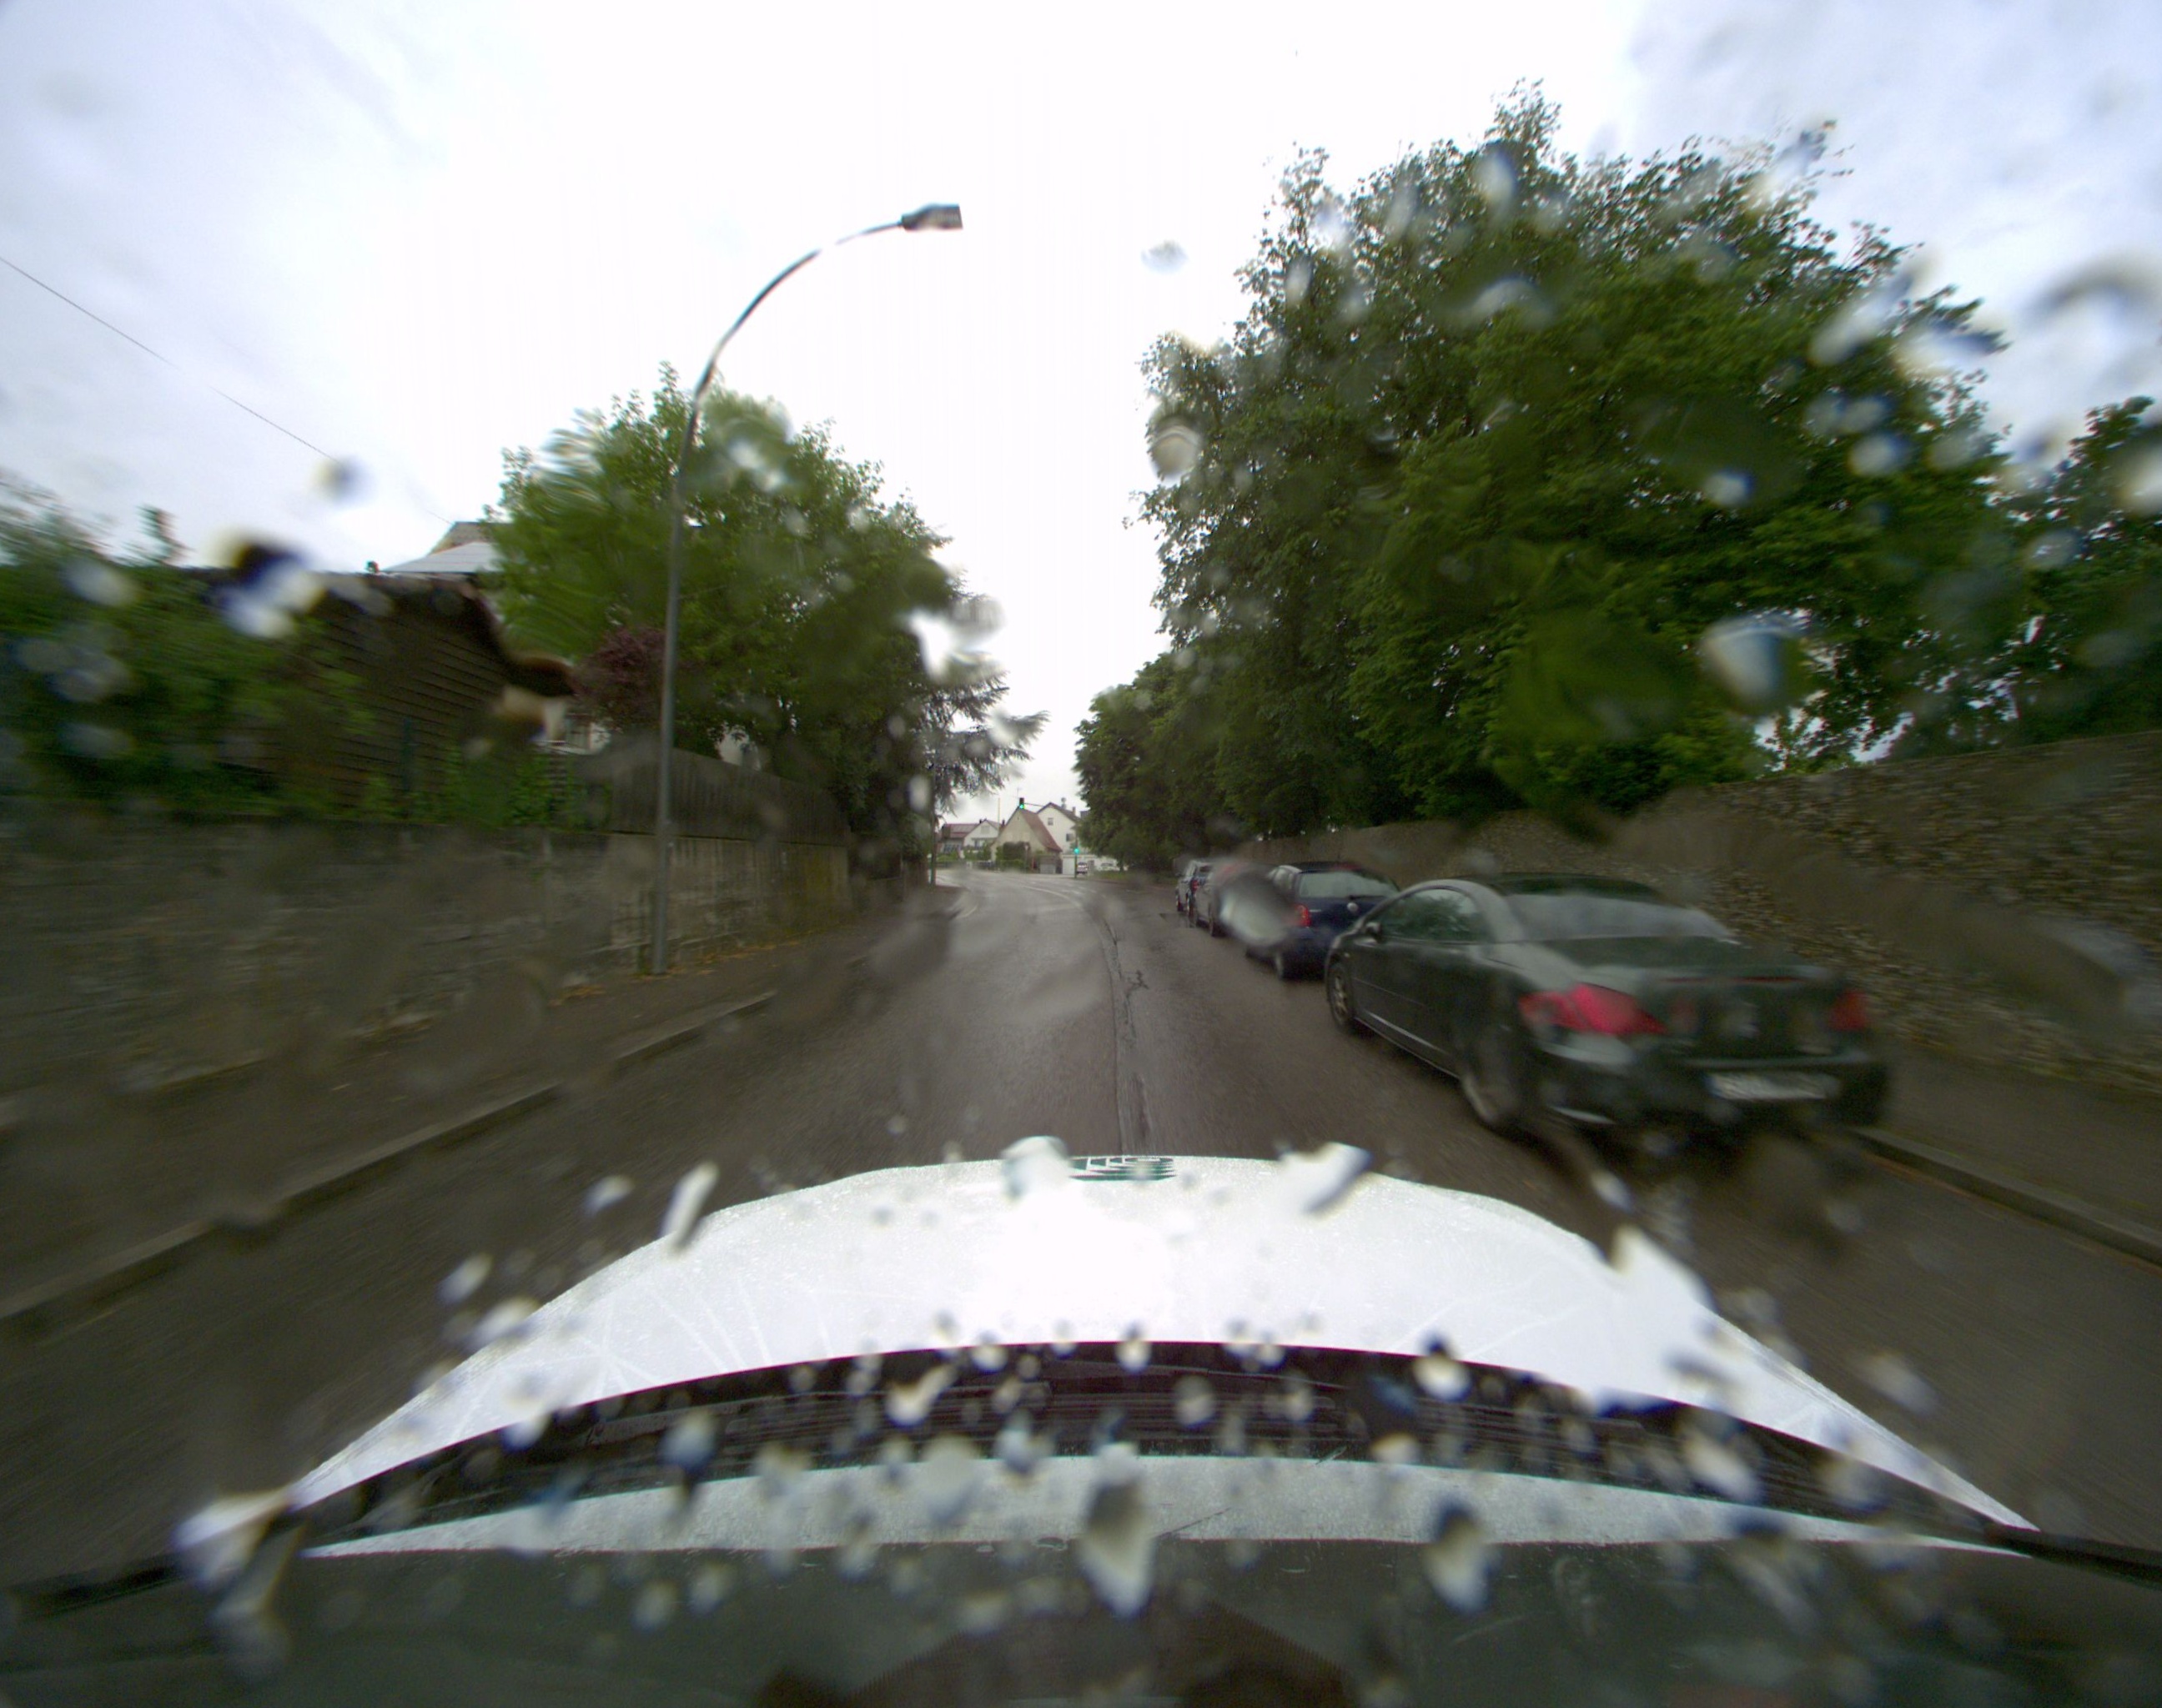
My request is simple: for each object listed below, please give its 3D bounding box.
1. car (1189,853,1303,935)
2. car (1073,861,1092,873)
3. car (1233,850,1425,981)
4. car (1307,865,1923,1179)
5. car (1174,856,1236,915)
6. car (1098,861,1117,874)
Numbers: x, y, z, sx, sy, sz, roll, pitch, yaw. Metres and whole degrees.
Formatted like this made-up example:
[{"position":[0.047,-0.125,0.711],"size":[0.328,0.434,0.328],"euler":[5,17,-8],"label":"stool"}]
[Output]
[{"position":[3.325,0.788,17.132],"size":[1.641,1.497,4.247],"euler":[1,-1,2],"label":"car"},{"position":[0.200,1.544,96.508],"size":[1.898,1.442,4.006],"euler":[0,0,5],"label":"car"},{"position":[3.220,0.752,11.305],"size":[1.641,1.497,3.710],"euler":[1,-1,2],"label":"car"},{"position":[3.023,0.791,5.808],"size":[1.646,1.371,4.180],"euler":[0,0,0],"label":"car"},{"position":[3.396,0.859,22.724],"size":[1.297,1.497,3.365],"euler":[1,-1,2],"label":"car"},{"position":[3.149,1.549,96.012],"size":[1.898,1.442,4.006],"euler":[0,0,5],"label":"car"}]
